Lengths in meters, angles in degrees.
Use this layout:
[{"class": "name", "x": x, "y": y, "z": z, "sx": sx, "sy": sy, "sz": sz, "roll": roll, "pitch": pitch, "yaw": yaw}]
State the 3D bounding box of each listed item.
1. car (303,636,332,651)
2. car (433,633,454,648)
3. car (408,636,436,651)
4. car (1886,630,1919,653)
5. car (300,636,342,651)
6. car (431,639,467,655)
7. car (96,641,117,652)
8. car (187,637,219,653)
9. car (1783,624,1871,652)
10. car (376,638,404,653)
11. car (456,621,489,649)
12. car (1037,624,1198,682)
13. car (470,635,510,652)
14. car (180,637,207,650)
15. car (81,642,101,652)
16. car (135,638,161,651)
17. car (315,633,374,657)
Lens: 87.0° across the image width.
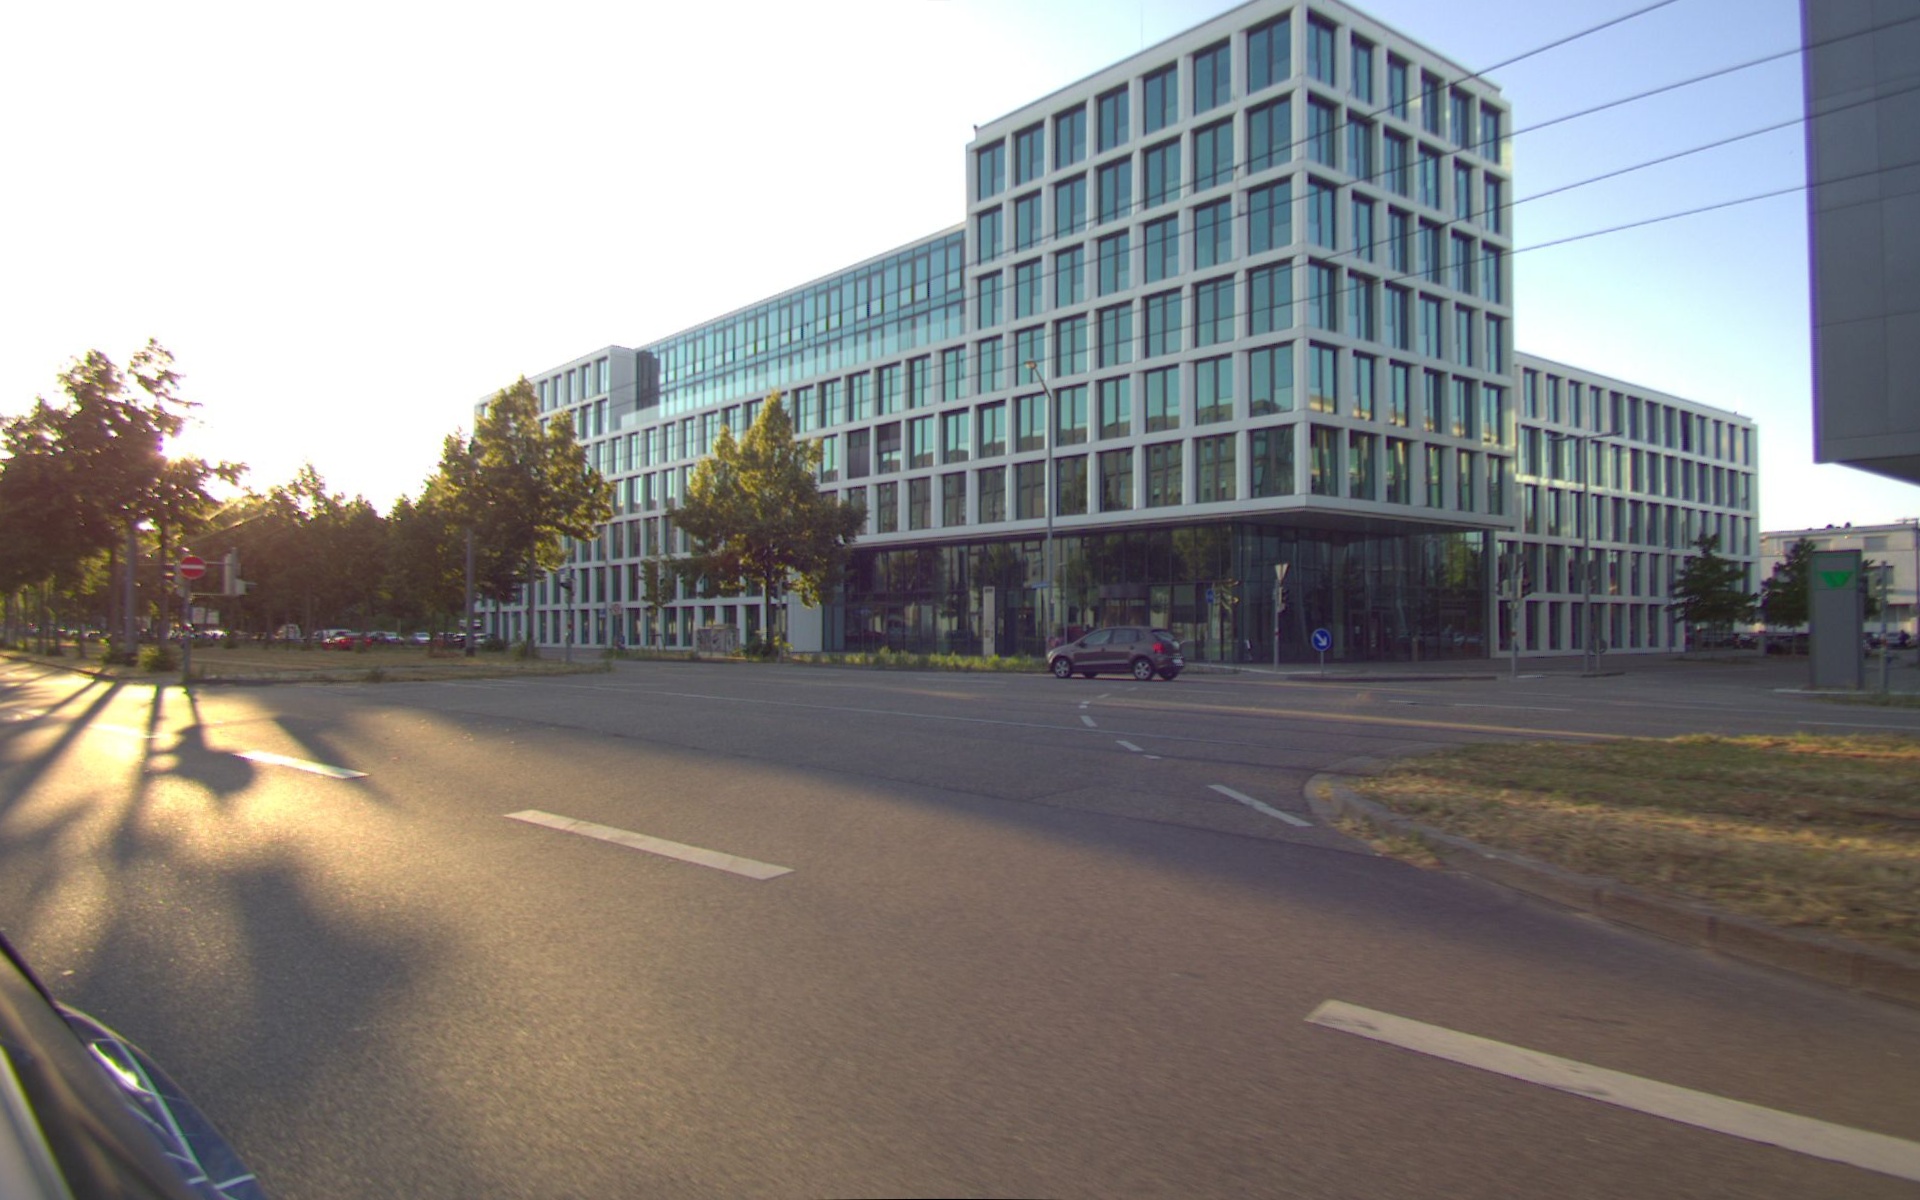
[{"class": "car", "x": -81.614, "y": 5.527, "z": 128.573, "sx": 4.611, "sy": 1.754, "sz": 1.972, "roll": -2, "pitch": -3, "yaw": 43}, {"class": "car", "x": -63.775, "y": 5.022, "z": 124.947, "sx": 1.822, "sy": 1.826, "sz": 4.010, "roll": 1, "pitch": -2, "yaw": -34}, {"class": "car", "x": -58.905, "y": 4.763, "z": 110.753, "sx": 1.969, "sy": 1.604, "sz": 4.006, "roll": 1, "pitch": -2, "yaw": -40}, {"class": "car", "x": 77.404, "y": 3.352, "z": 82.656, "sx": 3.745, "sy": 1.807, "sz": 1.813, "roll": 1, "pitch": -2, "yaw": -34}, {"class": "car", "x": -79.088, "y": 5.368, "z": 125.283, "sx": 1.999, "sy": 1.754, "sz": 4.029, "roll": -2, "pitch": -2, "yaw": 41}, {"class": "car", "x": -47.692, "y": 4.352, "z": 94.441, "sx": 3.999, "sy": 1.414, "sz": 1.740, "roll": -2, "pitch": -3, "yaw": 42}, {"class": "car", "x": -111.095, "y": 6.041, "z": 131.711, "sx": 3.999, "sy": 1.414, "sz": 1.628, "roll": -2, "pitch": -3, "yaw": 42}, {"class": "car", "x": -69.444, "y": 4.120, "z": 92.789, "sx": 3.999, "sy": 1.414, "sz": 1.628, "roll": -2, "pitch": -3, "yaw": 42}, {"class": "car", "x": 55.465, "y": 2.426, "z": 64.776, "sx": 1.969, "sy": 1.677, "sz": 4.005, "roll": 1, "pitch": -2, "yaw": -42}, {"class": "car", "x": -63.385, "y": 5.067, "z": 112.537, "sx": 1.969, "sy": 1.604, "sz": 4.342, "roll": 1, "pitch": -2, "yaw": -40}, {"class": "car", "x": -55.928, "y": 4.019, "z": 116.039, "sx": 2.131, "sy": 3.014, "sz": 5.731, "roll": 1, "pitch": -2, "yaw": -39}, {"class": "car", "x": 4.215, "y": 1.402, "z": 27.372, "sx": 3.991, "sy": 1.460, "sz": 1.626, "roll": -2, "pitch": -2, "yaw": 35}, {"class": "car", "x": -40.609, "y": 3.726, "z": 87.447, "sx": 3.999, "sy": 1.414, "sz": 1.740, "roll": -2, "pitch": -3, "yaw": 42}, {"class": "car", "x": -85.051, "y": 4.804, "z": 112.255, "sx": 3.999, "sy": 1.414, "sz": 1.628, "roll": -2, "pitch": -3, "yaw": 42}, {"class": "car", "x": -125.138, "y": 6.759, "z": 145.754, "sx": 3.999, "sy": 1.414, "sz": 1.628, "roll": -2, "pitch": -3, "yaw": 42}, {"class": "car", "x": -91.961, "y": 5.085, "z": 114.584, "sx": 3.999, "sy": 1.414, "sz": 1.628, "roll": -2, "pitch": -3, "yaw": 42}, {"class": "car", "x": -39.393, "y": 2.845, "z": 64.698, "sx": 4.899, "sy": 1.445, "sz": 1.972, "roll": -2, "pitch": -2, "yaw": 43}]
